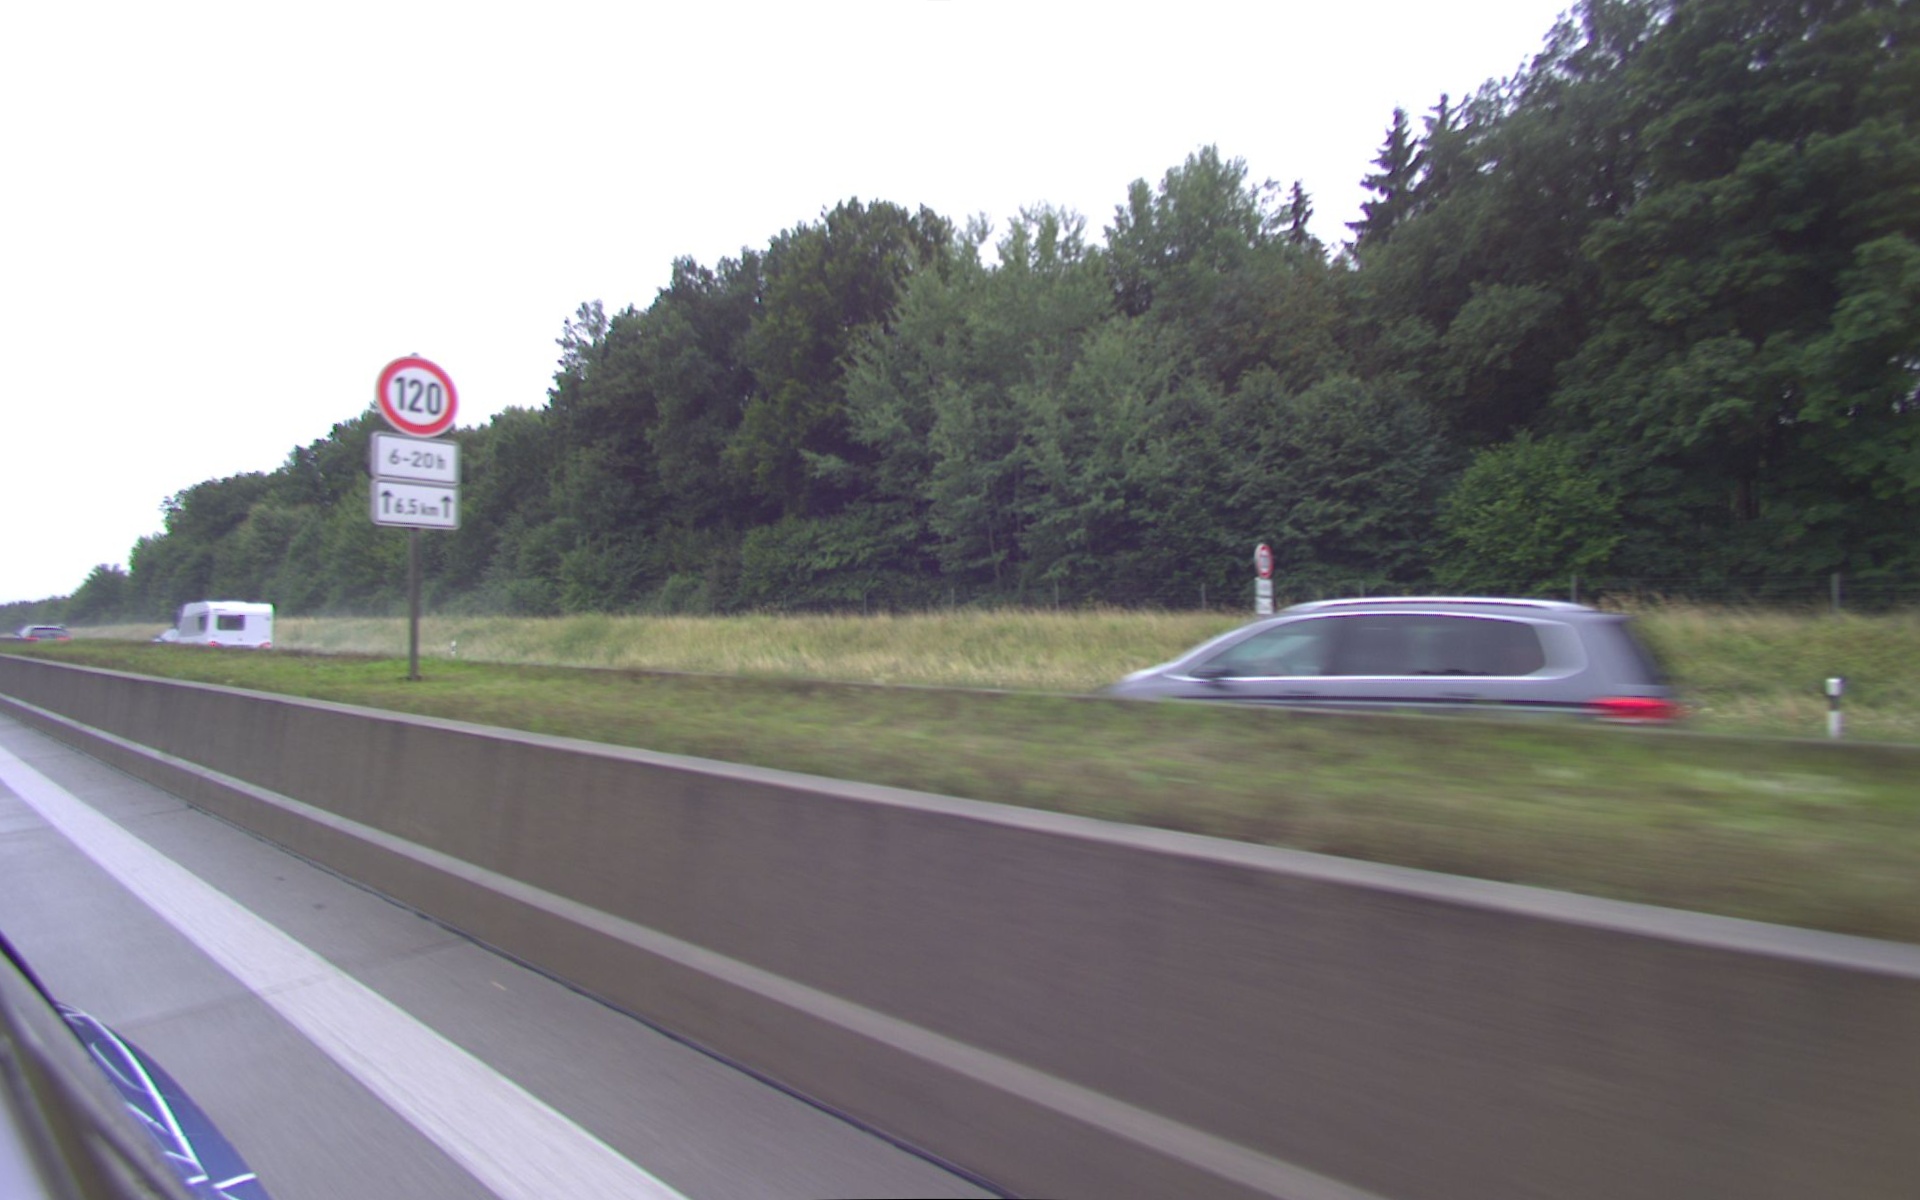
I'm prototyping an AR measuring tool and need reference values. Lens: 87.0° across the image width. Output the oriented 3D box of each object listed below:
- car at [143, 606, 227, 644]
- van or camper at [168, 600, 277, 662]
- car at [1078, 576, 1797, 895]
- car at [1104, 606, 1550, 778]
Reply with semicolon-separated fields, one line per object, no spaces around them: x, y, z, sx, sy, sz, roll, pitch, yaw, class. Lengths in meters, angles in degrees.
-36.040;1.137;47.003;5.406;1.657;1.973;-1;-3;41;car
-31.656;1.302;43.363;5.915;2.447;2.475;-1;-2;41;van or camper
3.278;0.789;7.575;4.557;1.700;1.765;-2;-2;41;car
4.152;0.922;11.913;4.557;1.639;1.973;-1;-2;41;car
